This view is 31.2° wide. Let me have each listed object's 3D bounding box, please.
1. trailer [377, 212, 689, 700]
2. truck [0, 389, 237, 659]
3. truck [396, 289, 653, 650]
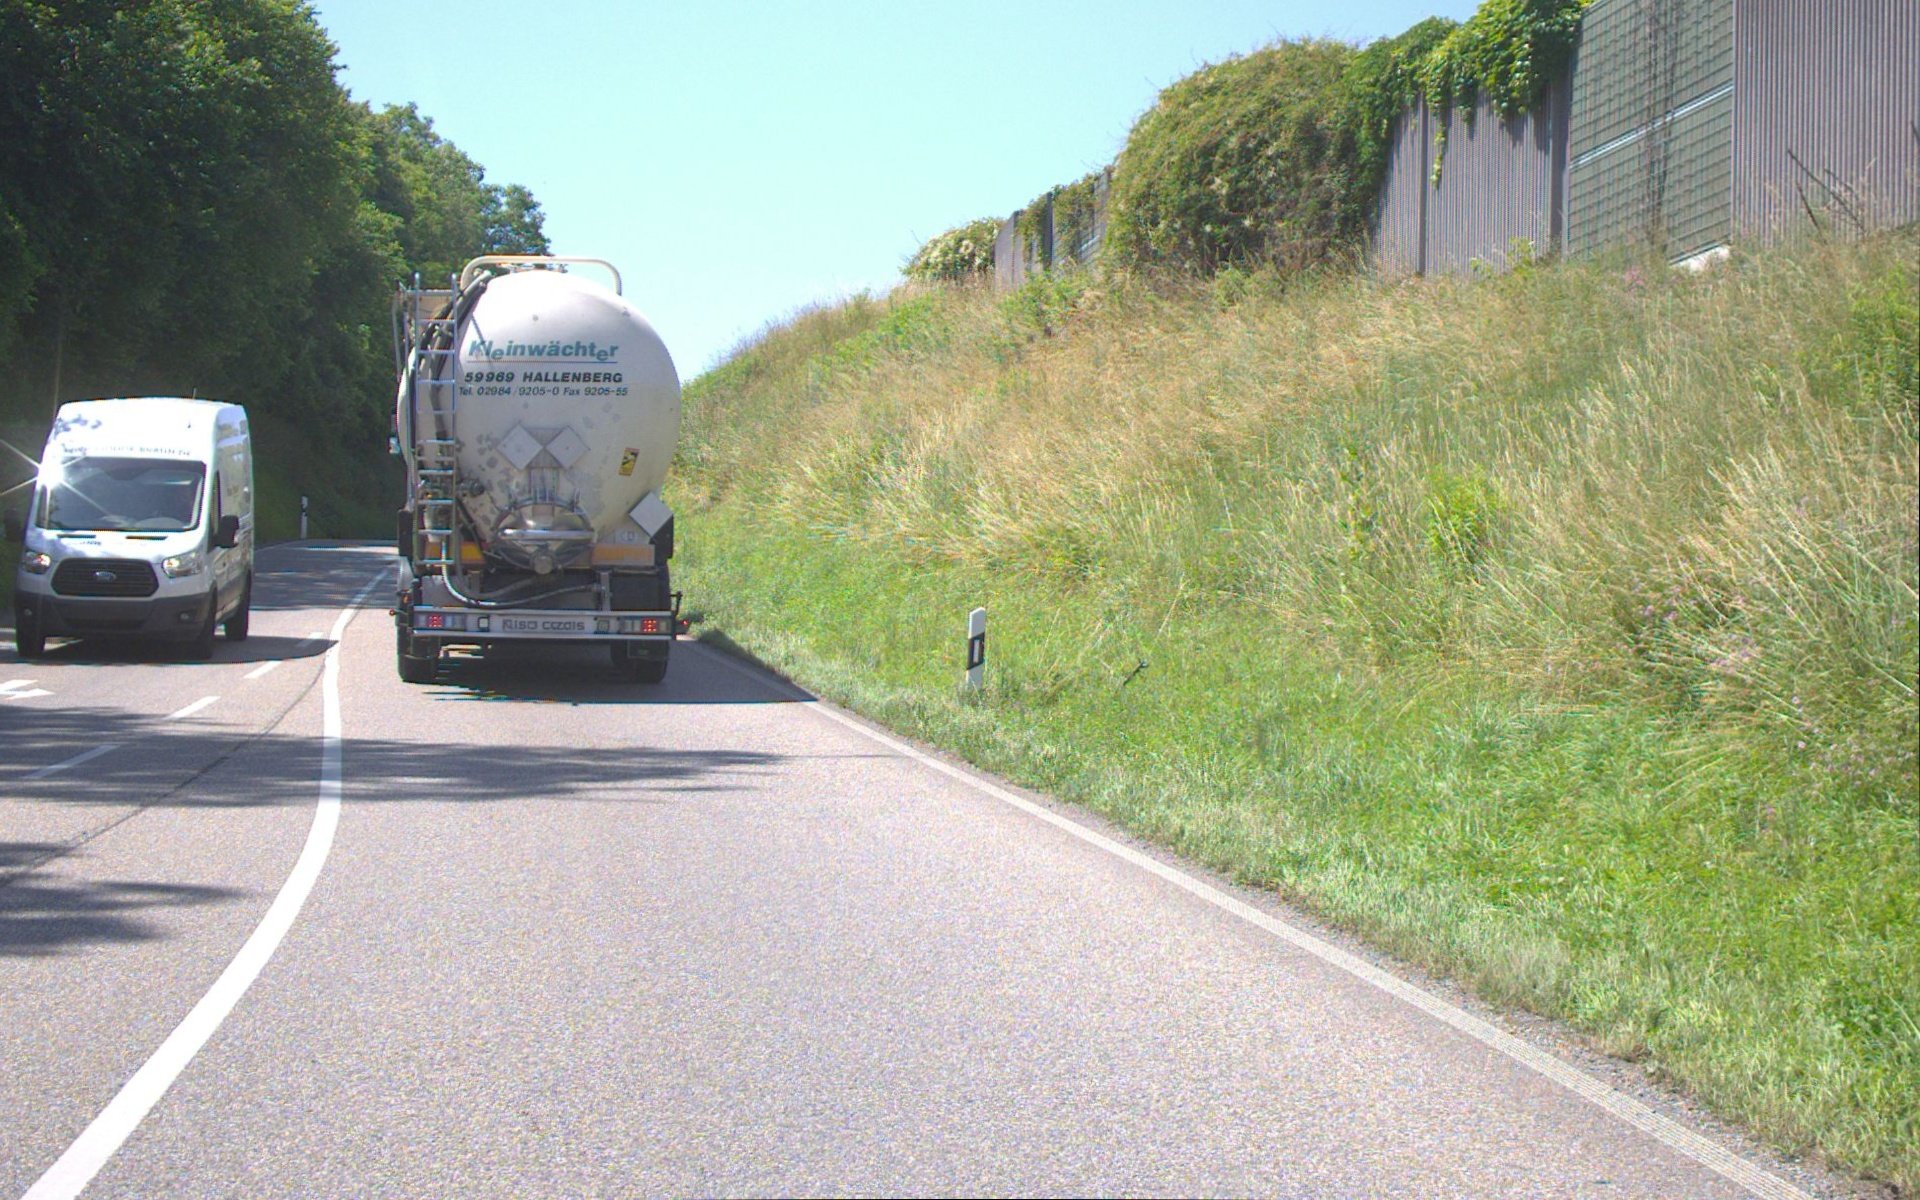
[{"bbox_3d":[-4.504,-1.480,35.527,2.660,4.174,11.908,0,2,-8],"label":"trailer"},{"bbox_3d":[-9.108,-0.884,37.601,2.052,2.677,5.983,-1,2,-10],"label":"truck"},{"bbox_3d":[-5.332,-1.568,41.141,2.726,3.916,7.266,0,2,-10],"label":"truck"}]
